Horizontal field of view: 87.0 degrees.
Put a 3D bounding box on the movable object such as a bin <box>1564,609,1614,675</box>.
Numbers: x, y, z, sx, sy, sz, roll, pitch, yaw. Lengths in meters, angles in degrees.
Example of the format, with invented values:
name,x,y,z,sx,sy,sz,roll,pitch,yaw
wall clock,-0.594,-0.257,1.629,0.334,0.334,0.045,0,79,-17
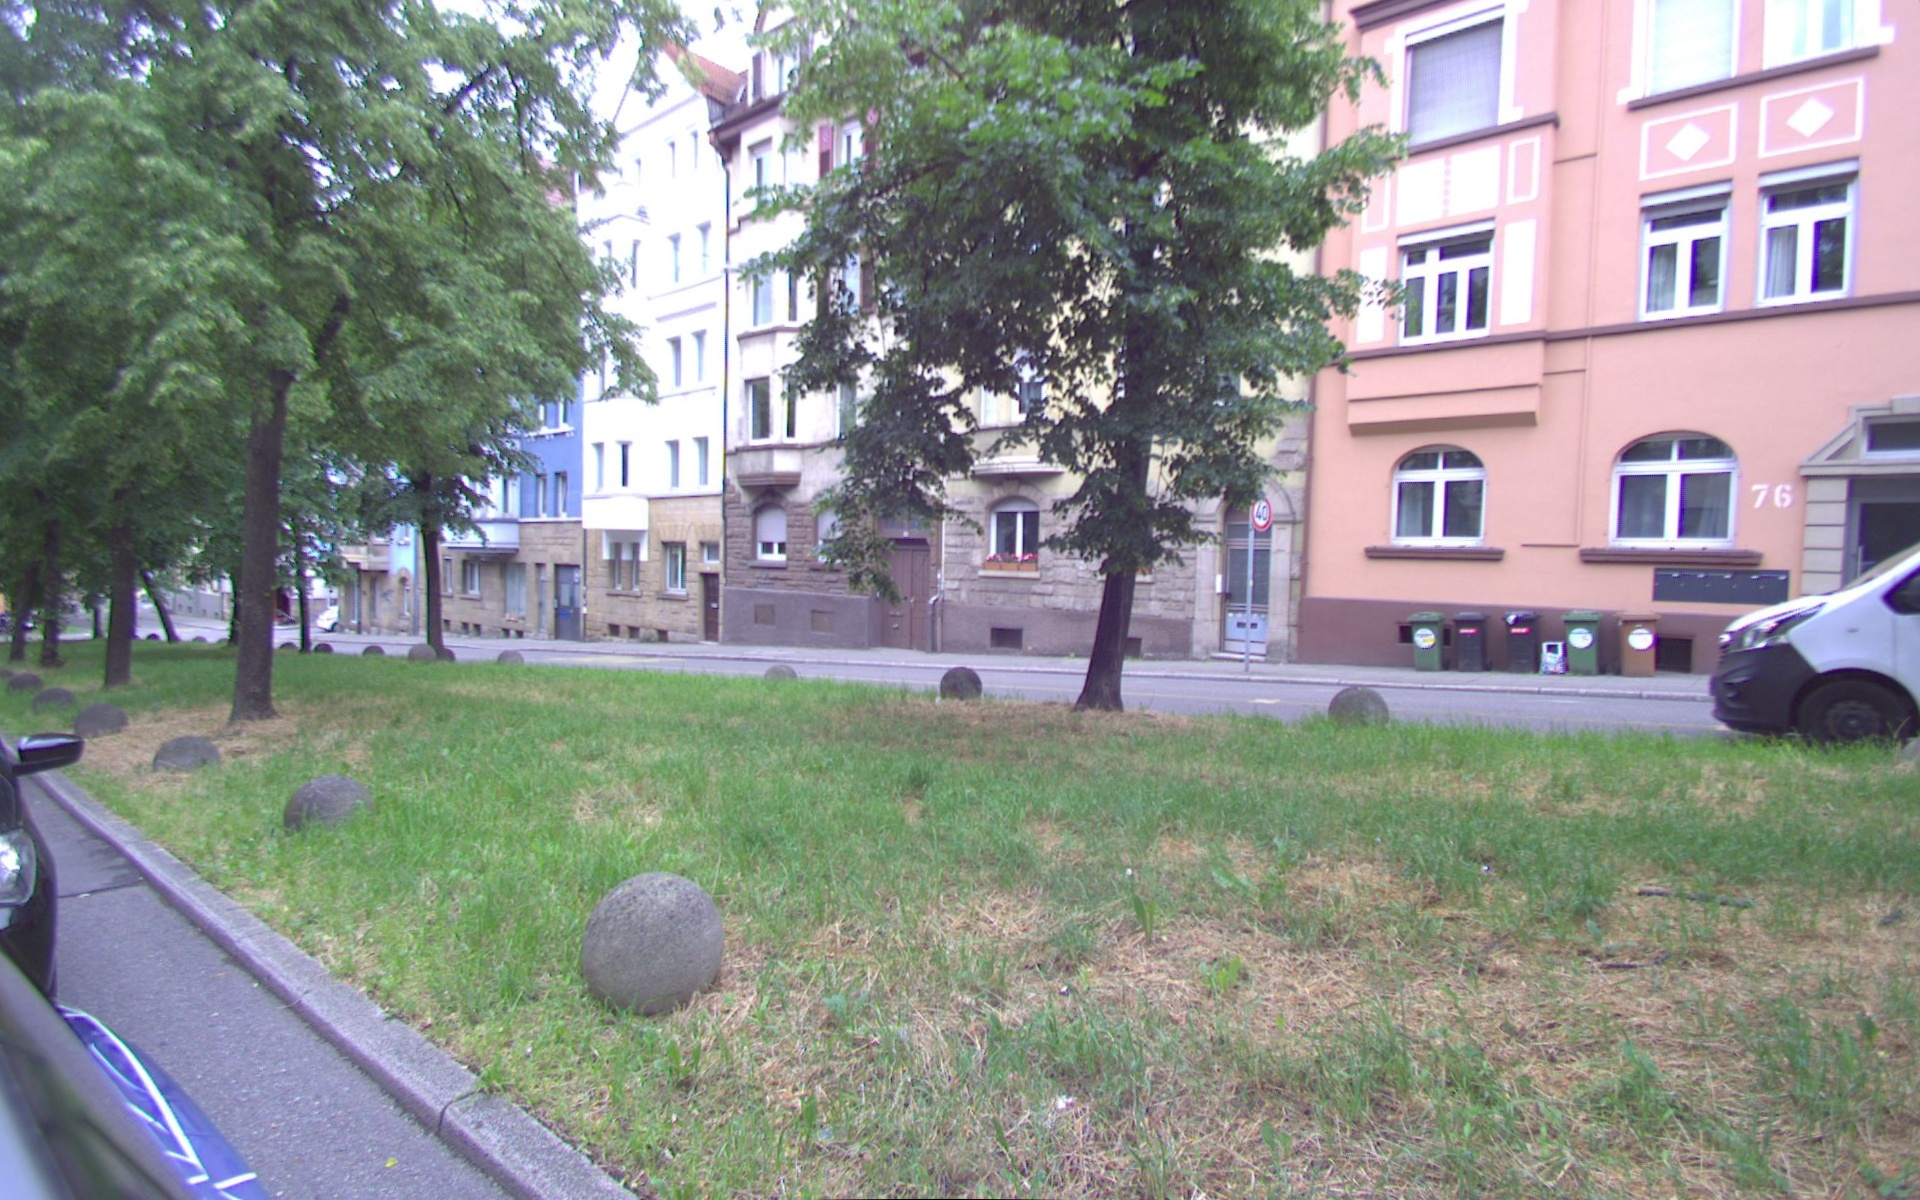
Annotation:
name,x,y,z,sx,sy,sz,roll,pitch,yaw
movable object such as a bin,9.142,0.595,14.705,0.558,0.928,0.648,-1,0,36

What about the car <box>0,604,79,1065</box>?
name,x,y,z,sx,sy,sz,roll,pitch,yaw
car,-4.723,0.752,3.868,3.295,1.476,1.590,-1,-2,41

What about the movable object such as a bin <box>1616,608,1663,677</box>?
name,x,y,z,sx,sy,sz,roll,pitch,yaw
movable object such as a bin,9.641,0.588,14.349,0.514,0.928,0.750,-1,0,36

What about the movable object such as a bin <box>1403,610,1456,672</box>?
name,x,y,z,sx,sy,sz,roll,pitch,yaw
movable object such as a bin,7.500,0.639,16.167,0.617,0.955,0.610,-1,0,40

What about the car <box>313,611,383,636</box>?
name,x,y,z,sx,sy,sz,roll,pitch,yaw
car,-35.371,1.355,58.494,3.244,1.341,1.674,-1,0,-40

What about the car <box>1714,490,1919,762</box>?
name,x,y,z,sx,sy,sz,roll,pitch,yaw
car,8.667,0.136,7.077,5.303,1.959,1.973,-2,0,40

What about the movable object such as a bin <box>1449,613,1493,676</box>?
name,x,y,z,sx,sy,sz,roll,pitch,yaw
movable object such as a bin,7.989,0.679,15.810,0.531,0.953,0.575,-1,0,35
